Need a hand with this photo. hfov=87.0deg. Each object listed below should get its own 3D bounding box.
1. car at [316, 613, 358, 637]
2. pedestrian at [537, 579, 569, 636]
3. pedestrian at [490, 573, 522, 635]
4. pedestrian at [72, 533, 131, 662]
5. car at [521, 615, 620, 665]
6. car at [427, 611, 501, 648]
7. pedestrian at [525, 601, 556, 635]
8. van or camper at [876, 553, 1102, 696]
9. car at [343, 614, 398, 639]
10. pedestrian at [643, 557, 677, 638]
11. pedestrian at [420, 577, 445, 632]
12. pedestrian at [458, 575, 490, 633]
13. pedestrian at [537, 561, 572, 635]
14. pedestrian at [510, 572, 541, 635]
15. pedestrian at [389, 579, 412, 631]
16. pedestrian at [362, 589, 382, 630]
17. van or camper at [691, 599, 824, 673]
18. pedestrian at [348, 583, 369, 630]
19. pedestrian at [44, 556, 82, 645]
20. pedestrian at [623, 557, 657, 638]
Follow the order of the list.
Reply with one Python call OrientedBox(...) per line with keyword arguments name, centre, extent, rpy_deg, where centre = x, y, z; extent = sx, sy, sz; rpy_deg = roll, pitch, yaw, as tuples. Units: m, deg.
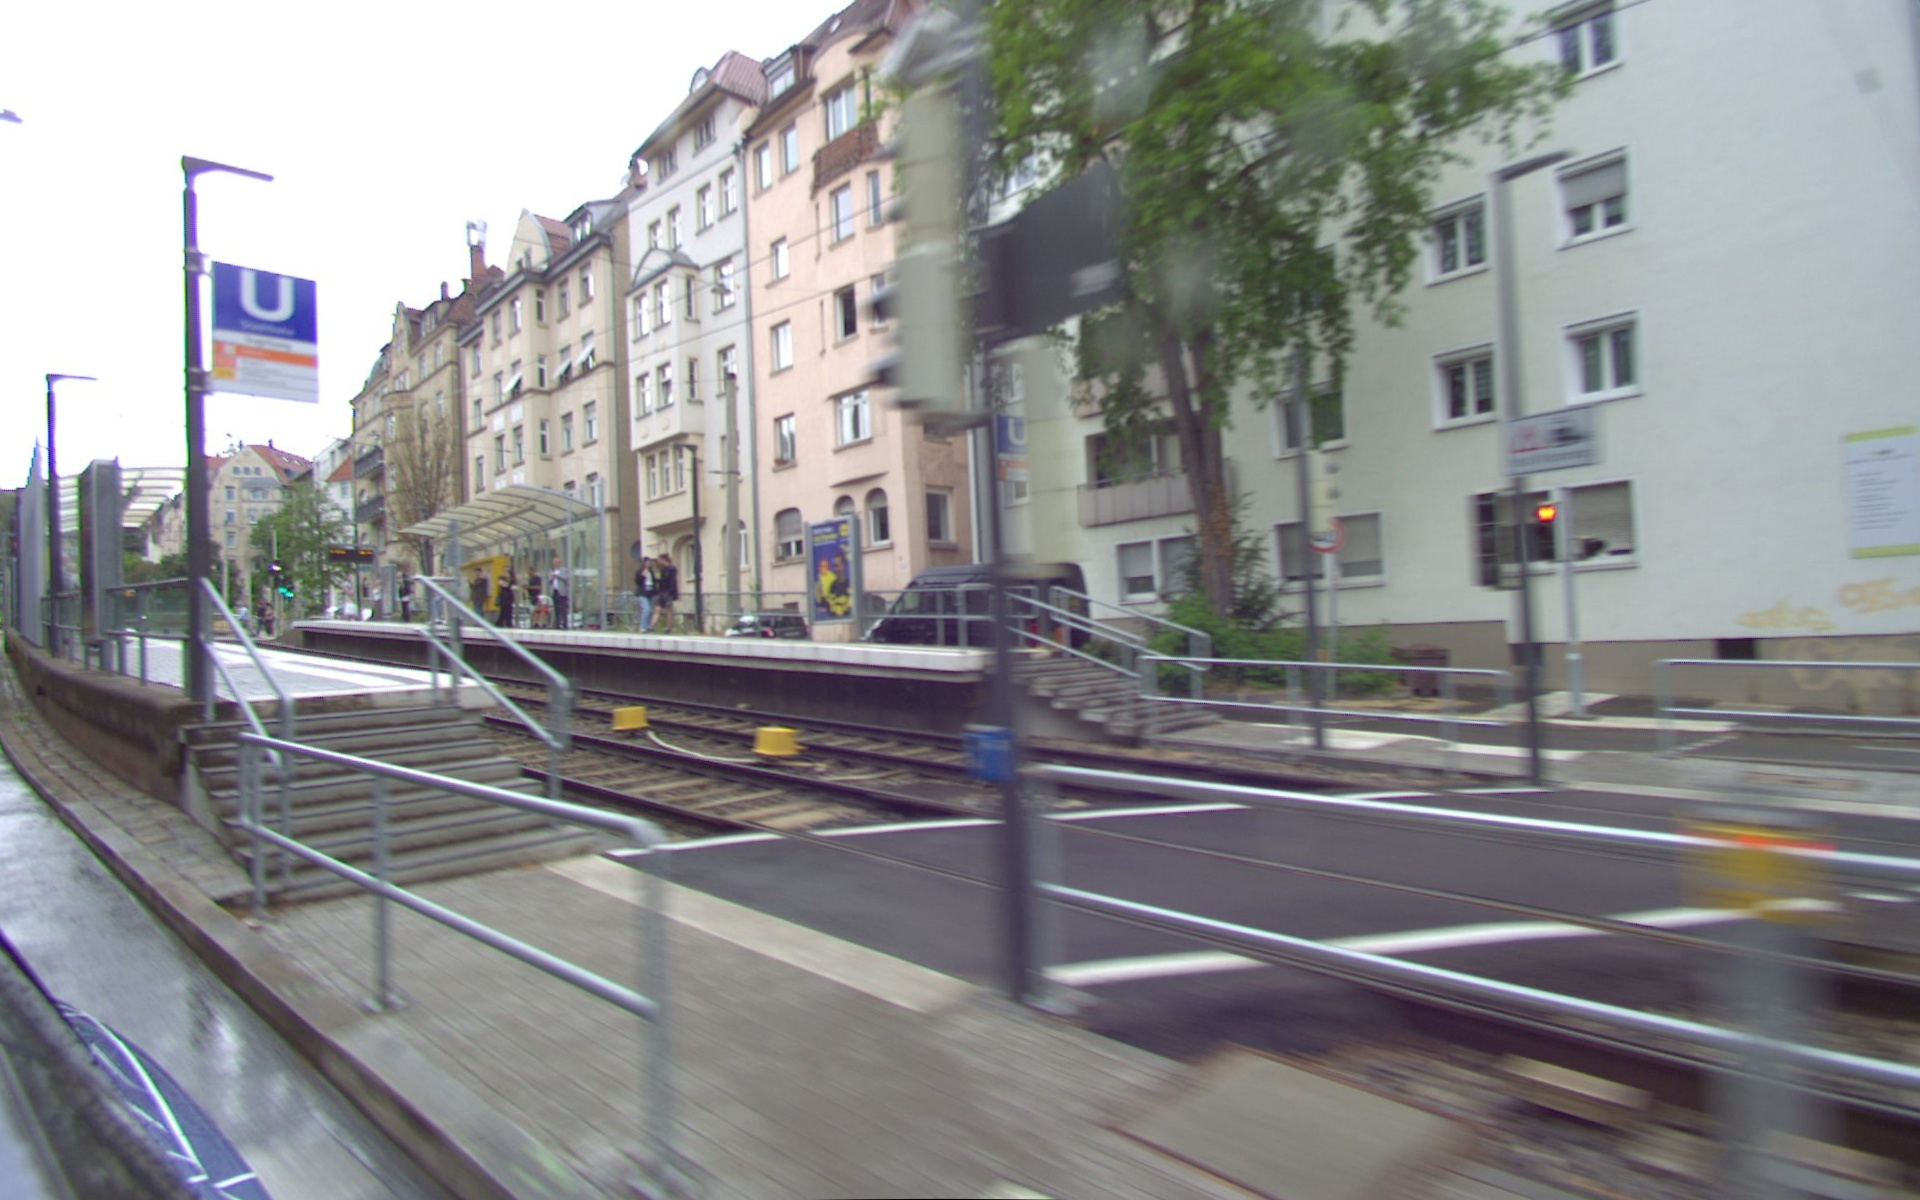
OrientedBox(name="car", centre=(-41.965, 1.661, 68.131), extent=(1.611, 1.559, 4.178), rpy_deg=(0, -1, -43))
OrientedBox(name="pedestrian", centre=(-10.401, 0.198, 25.863), extent=(0.543, 1.424, 0.614), rpy_deg=(3, -2, -44))
OrientedBox(name="pedestrian", centre=(-12.629, 0.113, 28.142), extent=(0.587, 1.678, 0.592), rpy_deg=(3, -3, -44))
OrientedBox(name="pedestrian", centre=(-12.475, -0.036, 14.706), extent=(0.661, 1.821, 0.583), rpy_deg=(-1, 0, 45))
OrientedBox(name="car", centre=(-14.923, 1.486, 38.657), extent=(1.969, 1.745, 4.820), rpy_deg=(2, -1, -41))
OrientedBox(name="car", centre=(-24.257, 1.397, 49.404), extent=(1.970, 1.544, 4.537), rpy_deg=(-3, 2, -43))
OrientedBox(name="pedestrian", centre=(-11.005, 0.478, 26.526), extent=(0.543, 0.878, 0.614), rpy_deg=(3, -2, -44))
OrientedBox(name="van or camper", centre=(0.543, 0.558, 22.292), extent=(4.861, 2.826, 1.973), rpy_deg=(-2, -2, 41))
OrientedBox(name="car", centre=(-35.581, 1.585, 61.051), extent=(1.697, 1.453, 4.871), rpy_deg=(0, -1, -45))
OrientedBox(name="pedestrian", centre=(-6.571, -0.048, 22.169), extent=(0.477, 1.754, 0.564), rpy_deg=(3, -3, -44))
OrientedBox(name="pedestrian", centre=(-18.006, 0.171, 34.518), extent=(0.510, 1.852, 0.762), rpy_deg=(3, -2, -44))
OrientedBox(name="pedestrian", centre=(-14.303, 0.128, 29.793), extent=(0.587, 1.678, 0.762), rpy_deg=(3, -2, -44))
OrientedBox(name="pedestrian", centre=(-9.870, -0.042, 24.634), extent=(0.543, 1.754, 0.614), rpy_deg=(3, -3, -44))
OrientedBox(name="pedestrian", centre=(-11.772, 0.109, 27.402), extent=(0.543, 1.678, 0.614), rpy_deg=(3, -3, -44))
OrientedBox(name="pedestrian", centre=(-20.488, 0.195, 37.046), extent=(0.510, 1.852, 0.762), rpy_deg=(3, -2, -44))
OrientedBox(name="pedestrian", centre=(-23.375, 0.386, 40.239), extent=(0.510, 1.617, 0.563), rpy_deg=(3, -3, -44))
OrientedBox(name="van or camper", centre=(-5.977, 1.046, 29.638), extent=(1.970, 2.029, 4.002), rpy_deg=(2, -3, -45))
OrientedBox(name="pedestrian", centre=(-24.027, 0.255, 40.411), extent=(0.554, 1.864, 0.599), rpy_deg=(3, -3, -44))
OrientedBox(name="pedestrian", centre=(-19.596, 0.012, 22.104), extent=(0.711, 1.895, 0.583), rpy_deg=(-1, -1, 45))
OrientedBox(name="pedestrian", centre=(-7.109, -0.050, 22.468), extent=(0.477, 1.754, 0.564), rpy_deg=(3, -3, -44))
